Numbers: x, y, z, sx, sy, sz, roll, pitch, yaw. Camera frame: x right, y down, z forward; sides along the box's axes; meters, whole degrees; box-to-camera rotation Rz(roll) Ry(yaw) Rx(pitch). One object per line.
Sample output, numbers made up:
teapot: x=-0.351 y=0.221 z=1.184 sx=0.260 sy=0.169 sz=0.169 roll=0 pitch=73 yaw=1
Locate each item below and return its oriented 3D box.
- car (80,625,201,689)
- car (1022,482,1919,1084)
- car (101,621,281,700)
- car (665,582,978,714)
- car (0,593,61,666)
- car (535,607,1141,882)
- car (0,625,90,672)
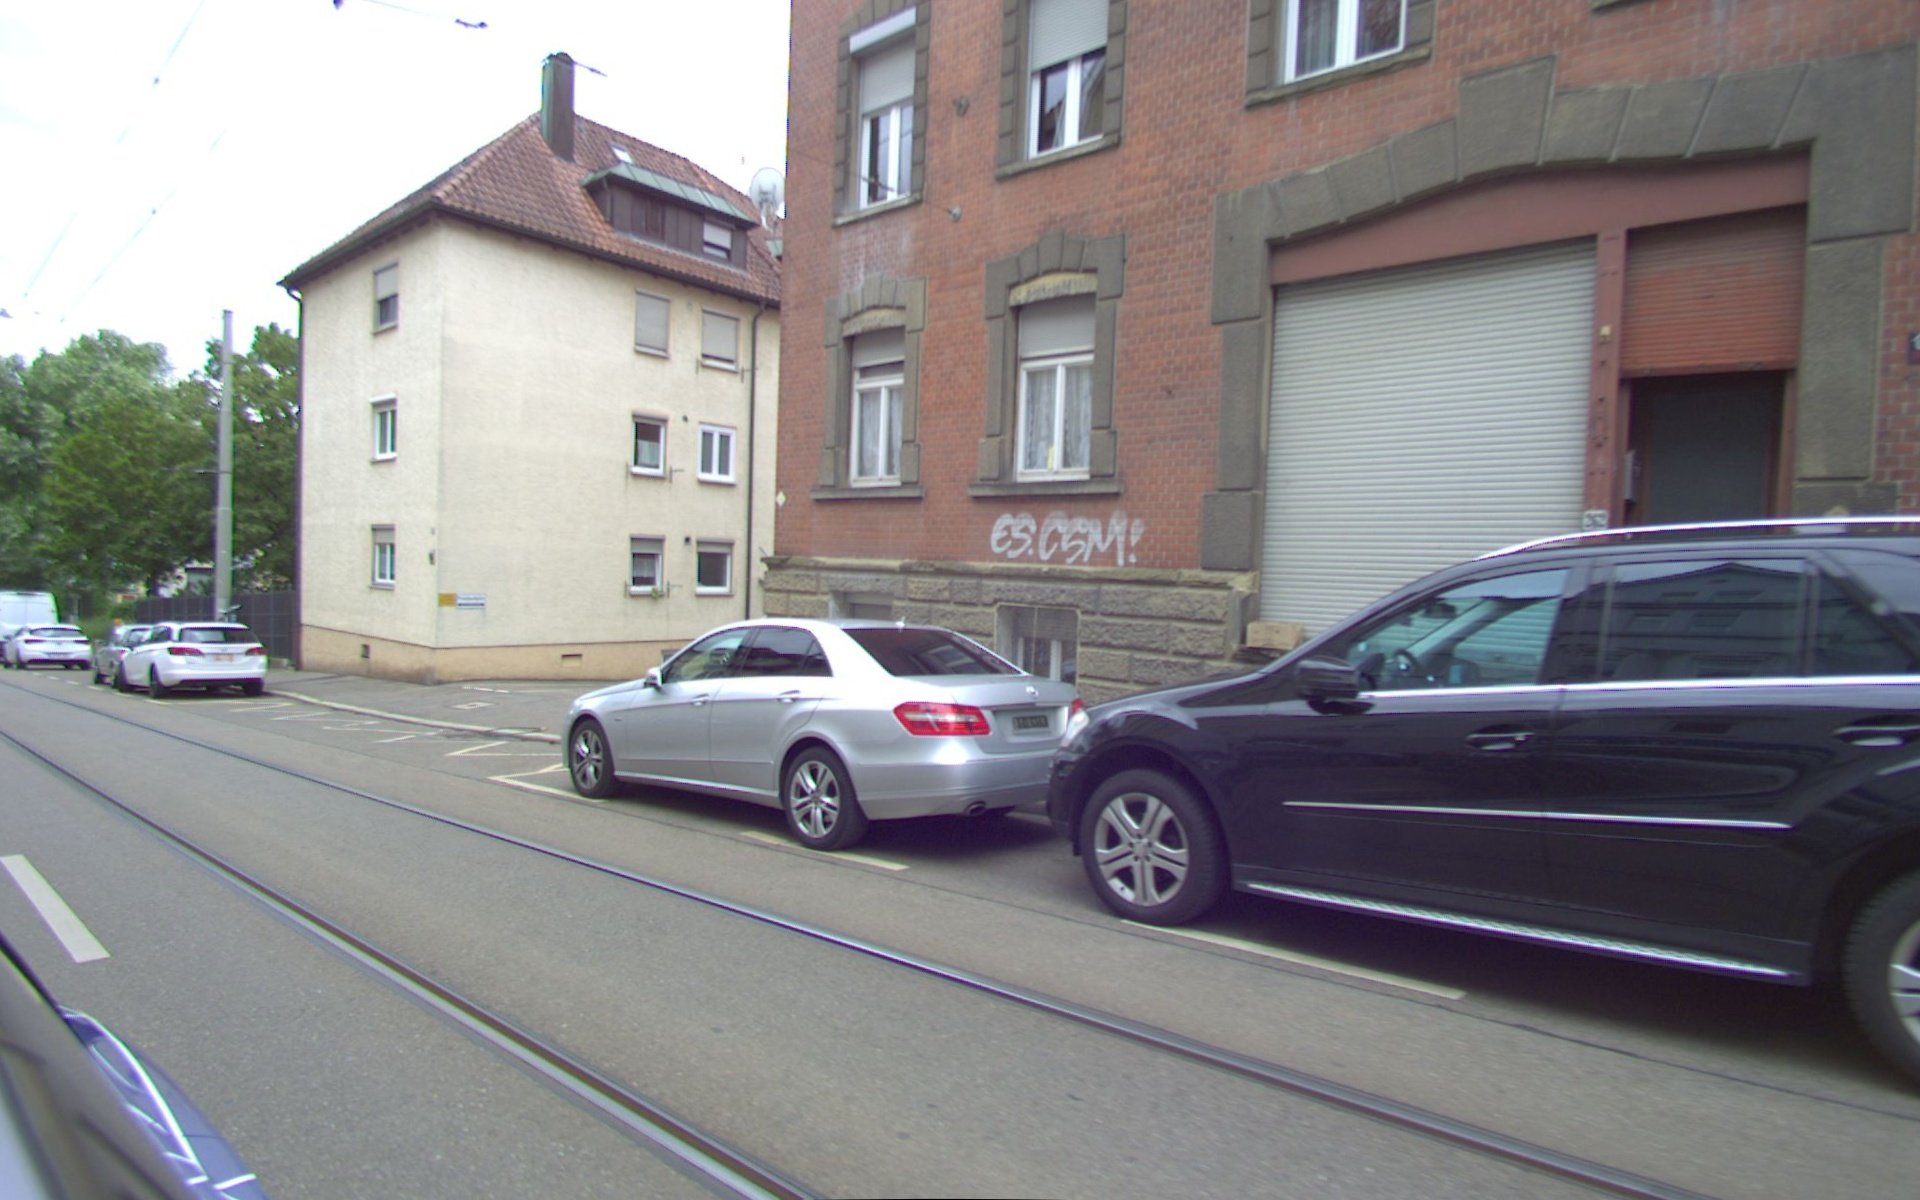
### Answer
car: x=-19.256 y=1.319 z=23.732 sx=3.806 sy=1.379 sz=1.583 roll=-2 pitch=-5 yaw=42
car: x=2.738 y=0.571 z=4.162 sx=4.911 sy=1.731 sz=1.808 roll=-2 pitch=-3 yaw=42
car: x=-15.689 y=1.197 z=20.558 sx=4.622 sy=1.440 sz=1.809 roll=-1 pitch=-4 yaw=39
car: x=-2.119 y=0.913 z=17.011 sx=1.940 sy=1.832 sz=5.119 roll=-1 pitch=-6 yaw=41
car: x=-36.594 y=1.131 z=38.805 sx=6.213 sy=2.627 sz=2.137 roll=-1 pitch=-4 yaw=40
car: x=-1.195 y=0.842 z=7.640 sx=4.837 sy=1.440 sz=1.808 roll=-2 pitch=-3 yaw=42
car: x=-29.219 y=1.523 z=32.175 sx=4.311 sy=1.413 sz=1.701 roll=-2 pitch=-4 yaw=41
